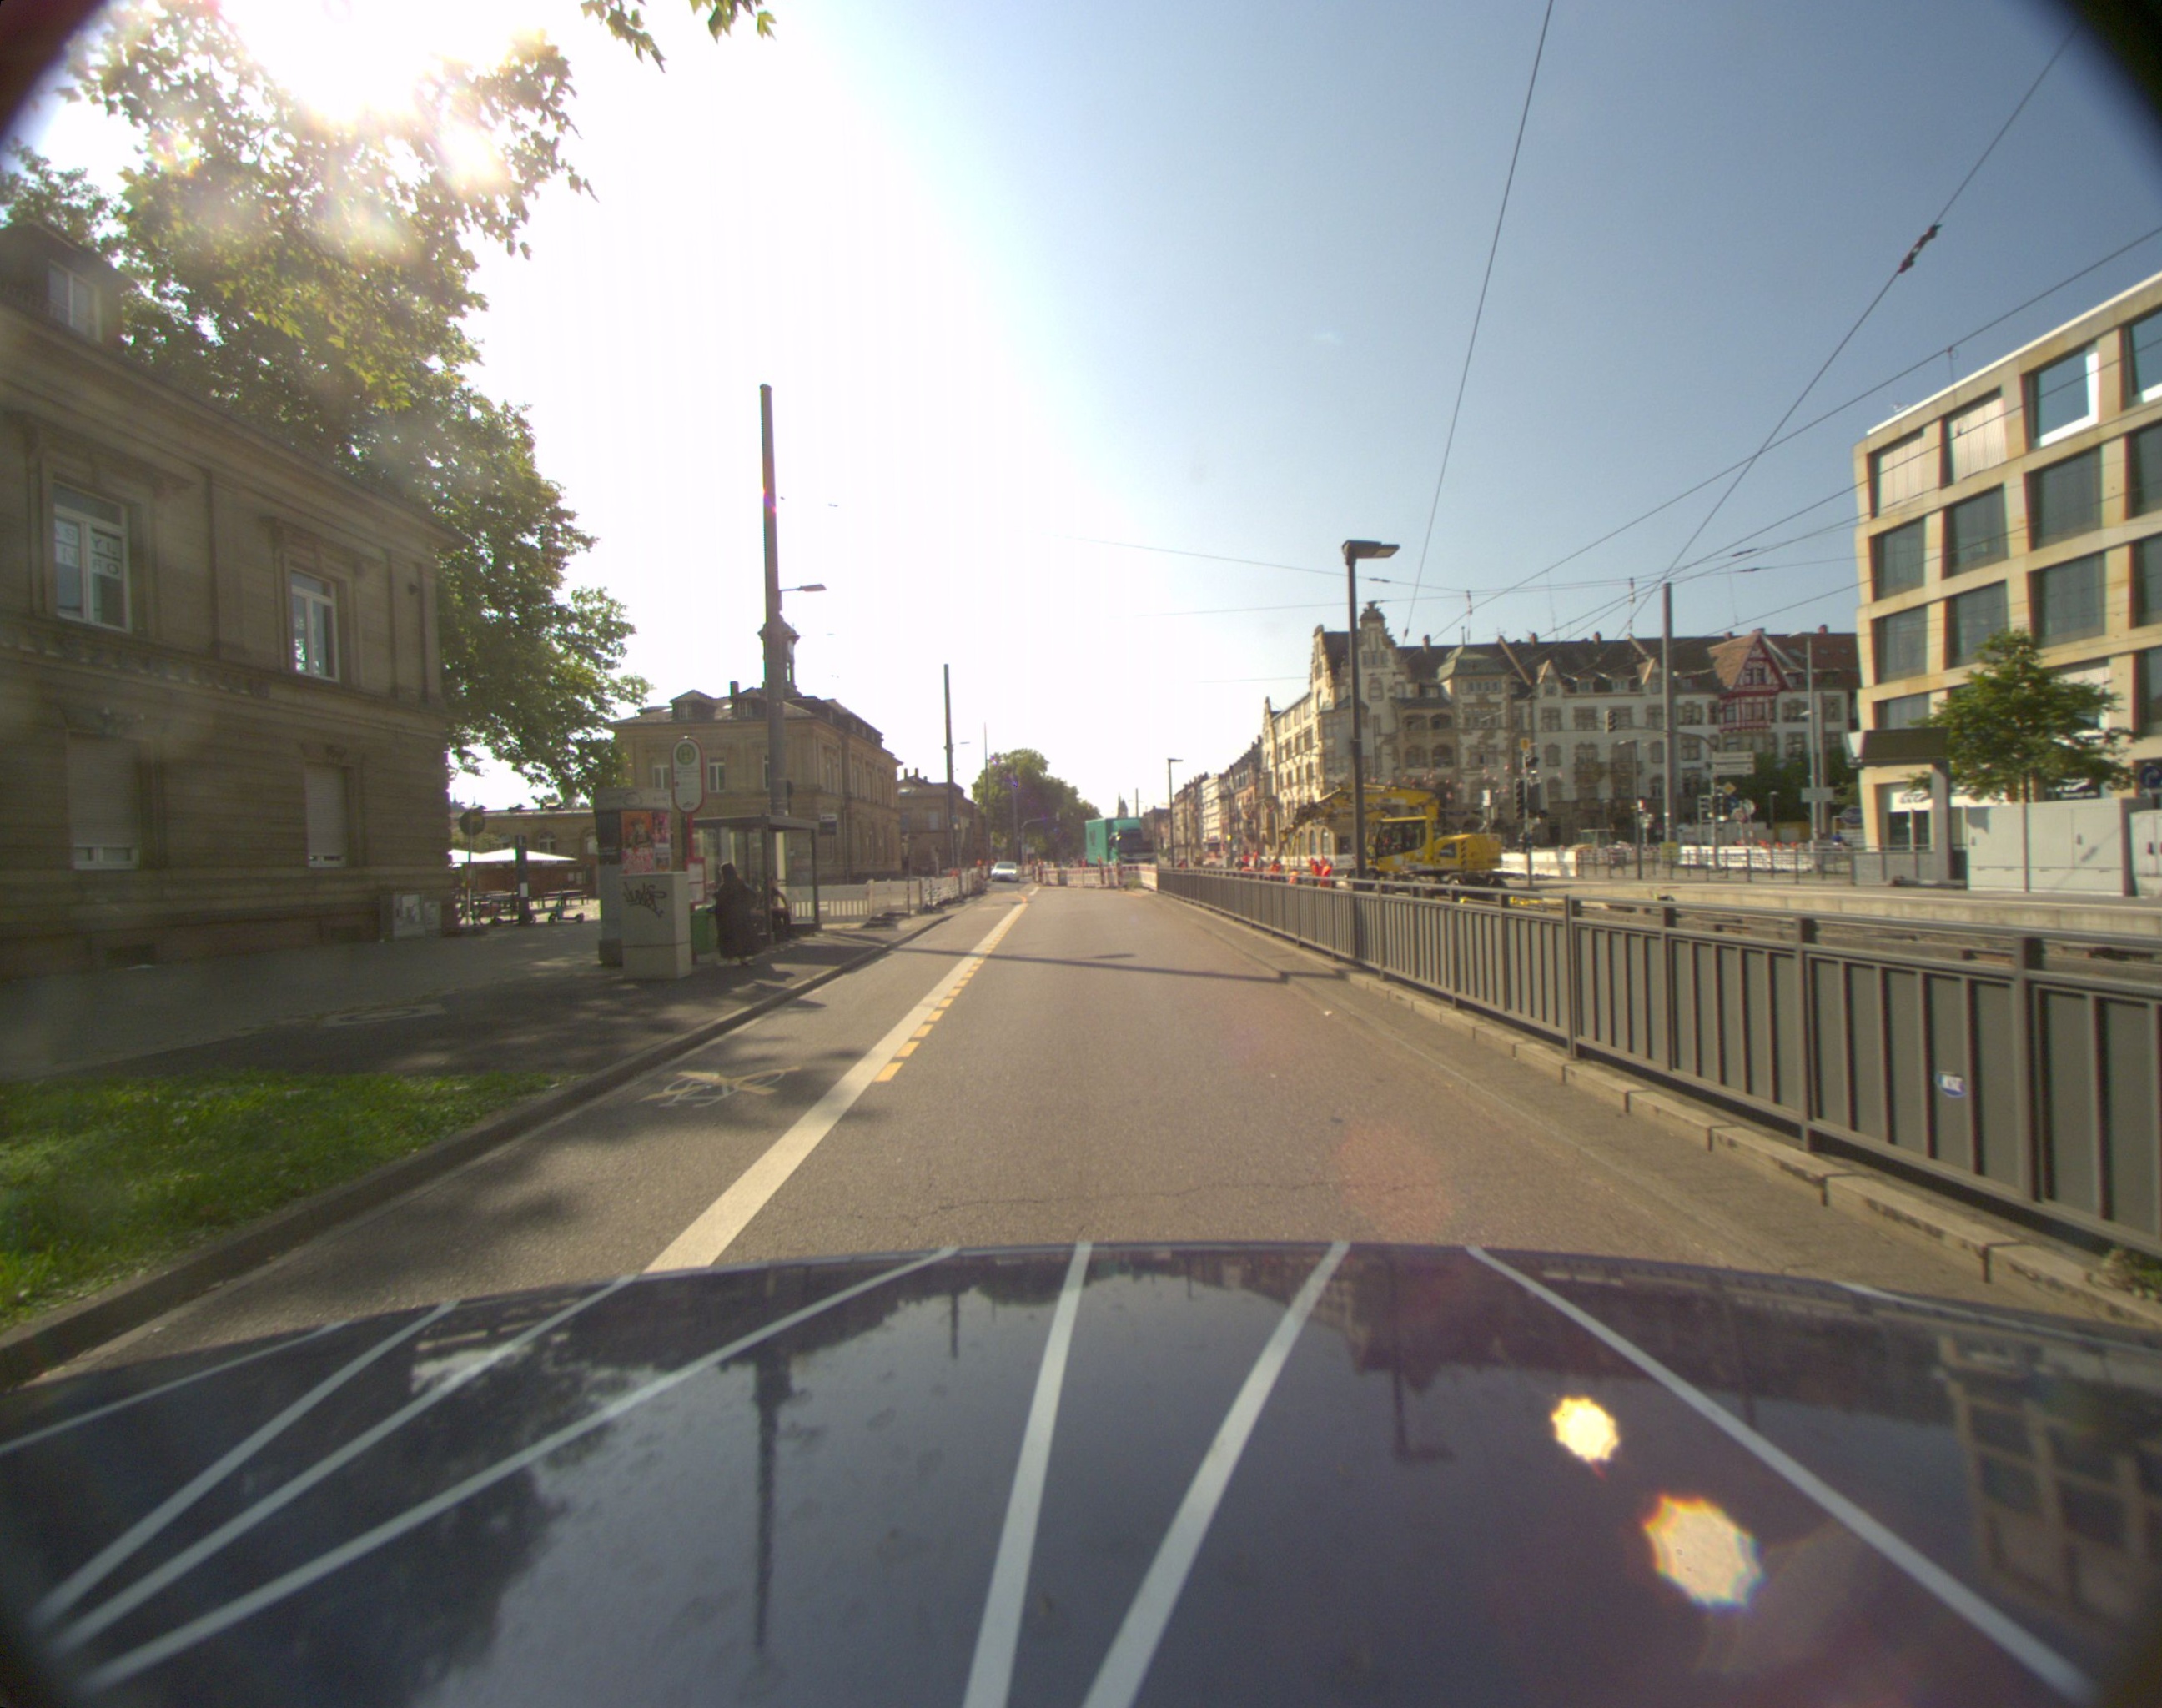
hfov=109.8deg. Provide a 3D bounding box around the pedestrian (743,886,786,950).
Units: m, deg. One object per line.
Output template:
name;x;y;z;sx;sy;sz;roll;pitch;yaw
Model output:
pedestrian;-6.213;1.244;14.915;0.610;1.211;0.574;0;0;-2

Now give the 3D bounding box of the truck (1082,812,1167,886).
truck;2.251;-0.231;43.322;2.817;3.766;9.008;-1;0;-9

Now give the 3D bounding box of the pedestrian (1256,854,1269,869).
pedestrian;14.323;0.611;60.019;0.732;1.177;0.866;1;2;-8

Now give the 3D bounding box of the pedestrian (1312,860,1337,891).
pedestrian;9.182;0.804;28.686;0.701;1.148;0.589;-2;0;40

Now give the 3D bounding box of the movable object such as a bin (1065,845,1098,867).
movable object such as a bin;0.022;0.235;87.810;3.174;2.395;2.915;1;2;-16

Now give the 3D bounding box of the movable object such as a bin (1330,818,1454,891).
movable object such as a bin;14.789;0.024;36.391;4.127;3.204;3.564;-2;0;-15

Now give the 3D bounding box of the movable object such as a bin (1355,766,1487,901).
movable object such as a bin;12.342;-0.676;28.020;2.994;4.527;4.212;-2;0;2

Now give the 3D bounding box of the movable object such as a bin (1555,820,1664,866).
movable object such as a bin;35.342;-0.713;50.897;5.515;2.774;2.490;-2;1;1

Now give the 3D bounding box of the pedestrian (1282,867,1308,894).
pedestrian;7.825;0.968;27.783;0.702;0.949;0.882;-2;0;1

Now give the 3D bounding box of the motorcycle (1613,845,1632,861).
motorcycle;29.184;-0.057;40.944;1.638;0.873;0.429;0;2;-40

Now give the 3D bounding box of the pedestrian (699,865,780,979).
pedestrian;-5.177;0.999;11.531;0.886;1.616;0.820;-2;0;-40

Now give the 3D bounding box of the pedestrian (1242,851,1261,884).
pedestrian;7.912;0.617;35.277;0.741;1.470;0.704;-2;0;22

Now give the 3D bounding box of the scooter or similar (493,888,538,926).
scooter or similar;-17.339;1.624;23.314;1.095;1.126;0.312;-2;0;-3

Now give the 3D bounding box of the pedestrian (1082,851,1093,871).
pedestrian;0.601;0.630;69.132;0.921;1.830;0.801;-2;0;-6

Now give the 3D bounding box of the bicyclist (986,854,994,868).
bicyclist;-10.384;0.773;86.947;0.736;1.616;0.853;-2;0;1

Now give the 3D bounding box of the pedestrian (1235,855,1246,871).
pedestrian;12.009;0.683;57.267;0.678;1.239;0.547;-2;0;-2

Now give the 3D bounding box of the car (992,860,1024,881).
car;-5.297;1.181;55.588;1.844;1.451;4.000;-2;0;1

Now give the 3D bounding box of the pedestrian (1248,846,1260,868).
pedestrian;13.506;0.269;59.230;0.752;1.692;0.678;-2;0;-1

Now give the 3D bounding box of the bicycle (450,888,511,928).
bicycle;-18.952;1.690;24.023;0.499;1.159;1.629;-1;0;5

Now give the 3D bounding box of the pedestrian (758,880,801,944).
pedestrian;-6.227;1.178;15.725;0.610;1.270;0.759;0;0;-2

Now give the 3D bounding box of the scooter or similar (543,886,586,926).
scooter or similar;-16.069;1.607;23.662;0.409;1.159;1.226;-1;0;5

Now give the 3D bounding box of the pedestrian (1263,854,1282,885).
pedestrian;8.550;0.690;33.864;0.701;1.327;0.838;-2;0;21

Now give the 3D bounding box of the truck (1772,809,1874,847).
truck;63.859;-2.202;65.482;6.353;3.026;2.631;-2;0;-3

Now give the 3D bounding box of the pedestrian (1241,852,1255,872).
pedestrian;13.216;0.660;60.254;0.754;1.547;0.735;-2;0;-42

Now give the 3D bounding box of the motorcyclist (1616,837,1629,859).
motorcyclist;29.162;-0.344;40.919;0.517;1.172;0.429;0;2;-40

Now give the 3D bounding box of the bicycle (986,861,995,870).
bicycle;-10.367;1.308;86.977;0.743;1.026;2.132;-2;0;1

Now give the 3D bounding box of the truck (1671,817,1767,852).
truck;54.690;-1.652;65.215;6.037;2.798;2.691;-2;0;-2

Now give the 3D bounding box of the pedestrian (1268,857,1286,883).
pedestrian;8.977;0.723;34.786;0.701;1.170;0.703;-2;0;21

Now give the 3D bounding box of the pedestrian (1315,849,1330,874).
pedestrian;17.002;0.539;53.450;0.741;1.692;0.758;-2;0;-1

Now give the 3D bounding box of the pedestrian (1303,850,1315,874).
pedestrian;16.078;0.556;53.523;0.740;1.692;0.760;-1;0;19
